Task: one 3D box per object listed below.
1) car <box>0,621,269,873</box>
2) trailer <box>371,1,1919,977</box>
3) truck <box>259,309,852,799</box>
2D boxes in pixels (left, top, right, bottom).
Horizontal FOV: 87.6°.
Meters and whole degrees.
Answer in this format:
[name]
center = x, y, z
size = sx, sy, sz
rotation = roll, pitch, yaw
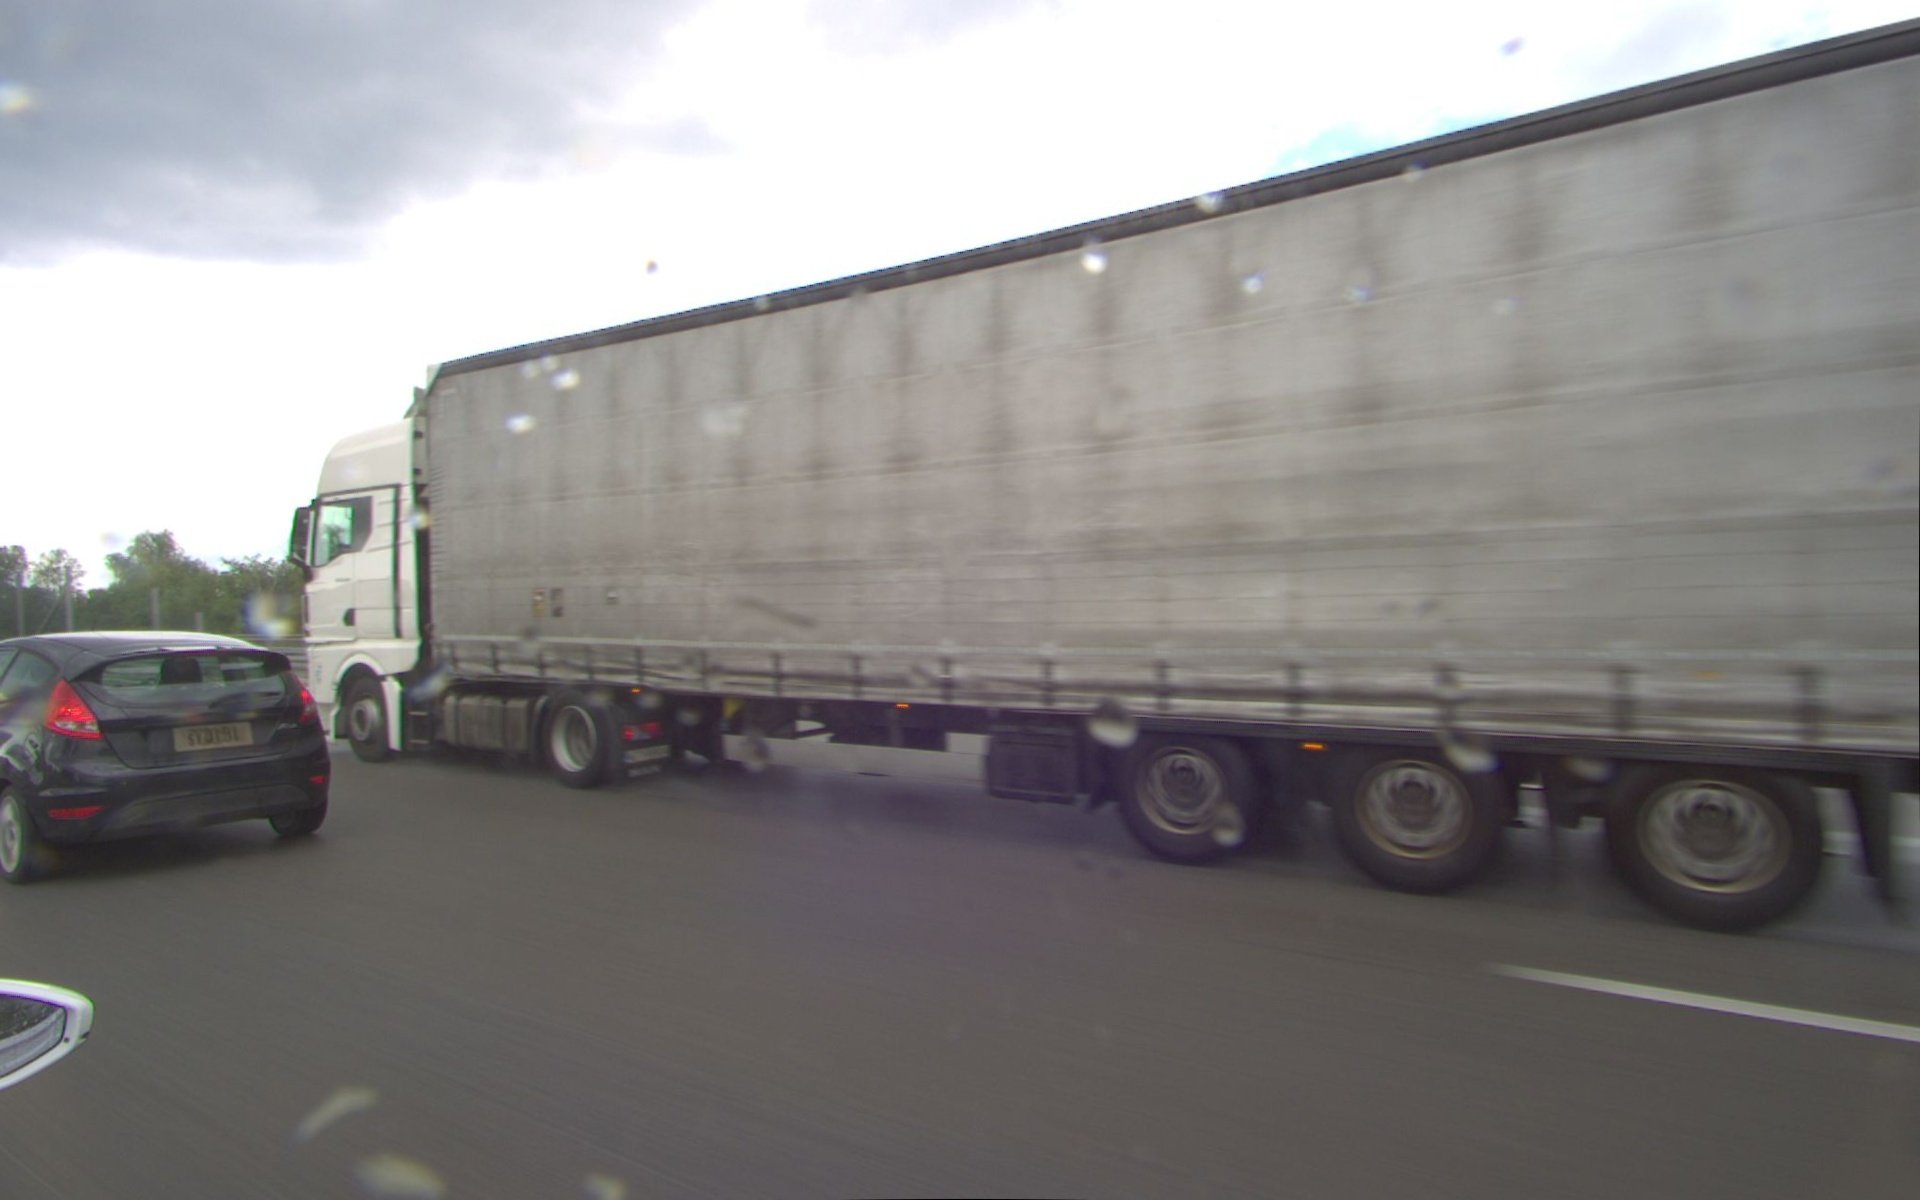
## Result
[car]
center = -6.592, 0.891, 7.298
size = 3.117, 1.460, 1.444
rotation = 0, -1, 32
[trailer]
center = 0.500, -0.421, 8.102
size = 13.912, 4.072, 2.956
rotation = 0, -1, 32
[truck]
center = -4.703, -0.344, 11.309
size = 6.492, 4.072, 2.956
rotation = 0, 0, 32
